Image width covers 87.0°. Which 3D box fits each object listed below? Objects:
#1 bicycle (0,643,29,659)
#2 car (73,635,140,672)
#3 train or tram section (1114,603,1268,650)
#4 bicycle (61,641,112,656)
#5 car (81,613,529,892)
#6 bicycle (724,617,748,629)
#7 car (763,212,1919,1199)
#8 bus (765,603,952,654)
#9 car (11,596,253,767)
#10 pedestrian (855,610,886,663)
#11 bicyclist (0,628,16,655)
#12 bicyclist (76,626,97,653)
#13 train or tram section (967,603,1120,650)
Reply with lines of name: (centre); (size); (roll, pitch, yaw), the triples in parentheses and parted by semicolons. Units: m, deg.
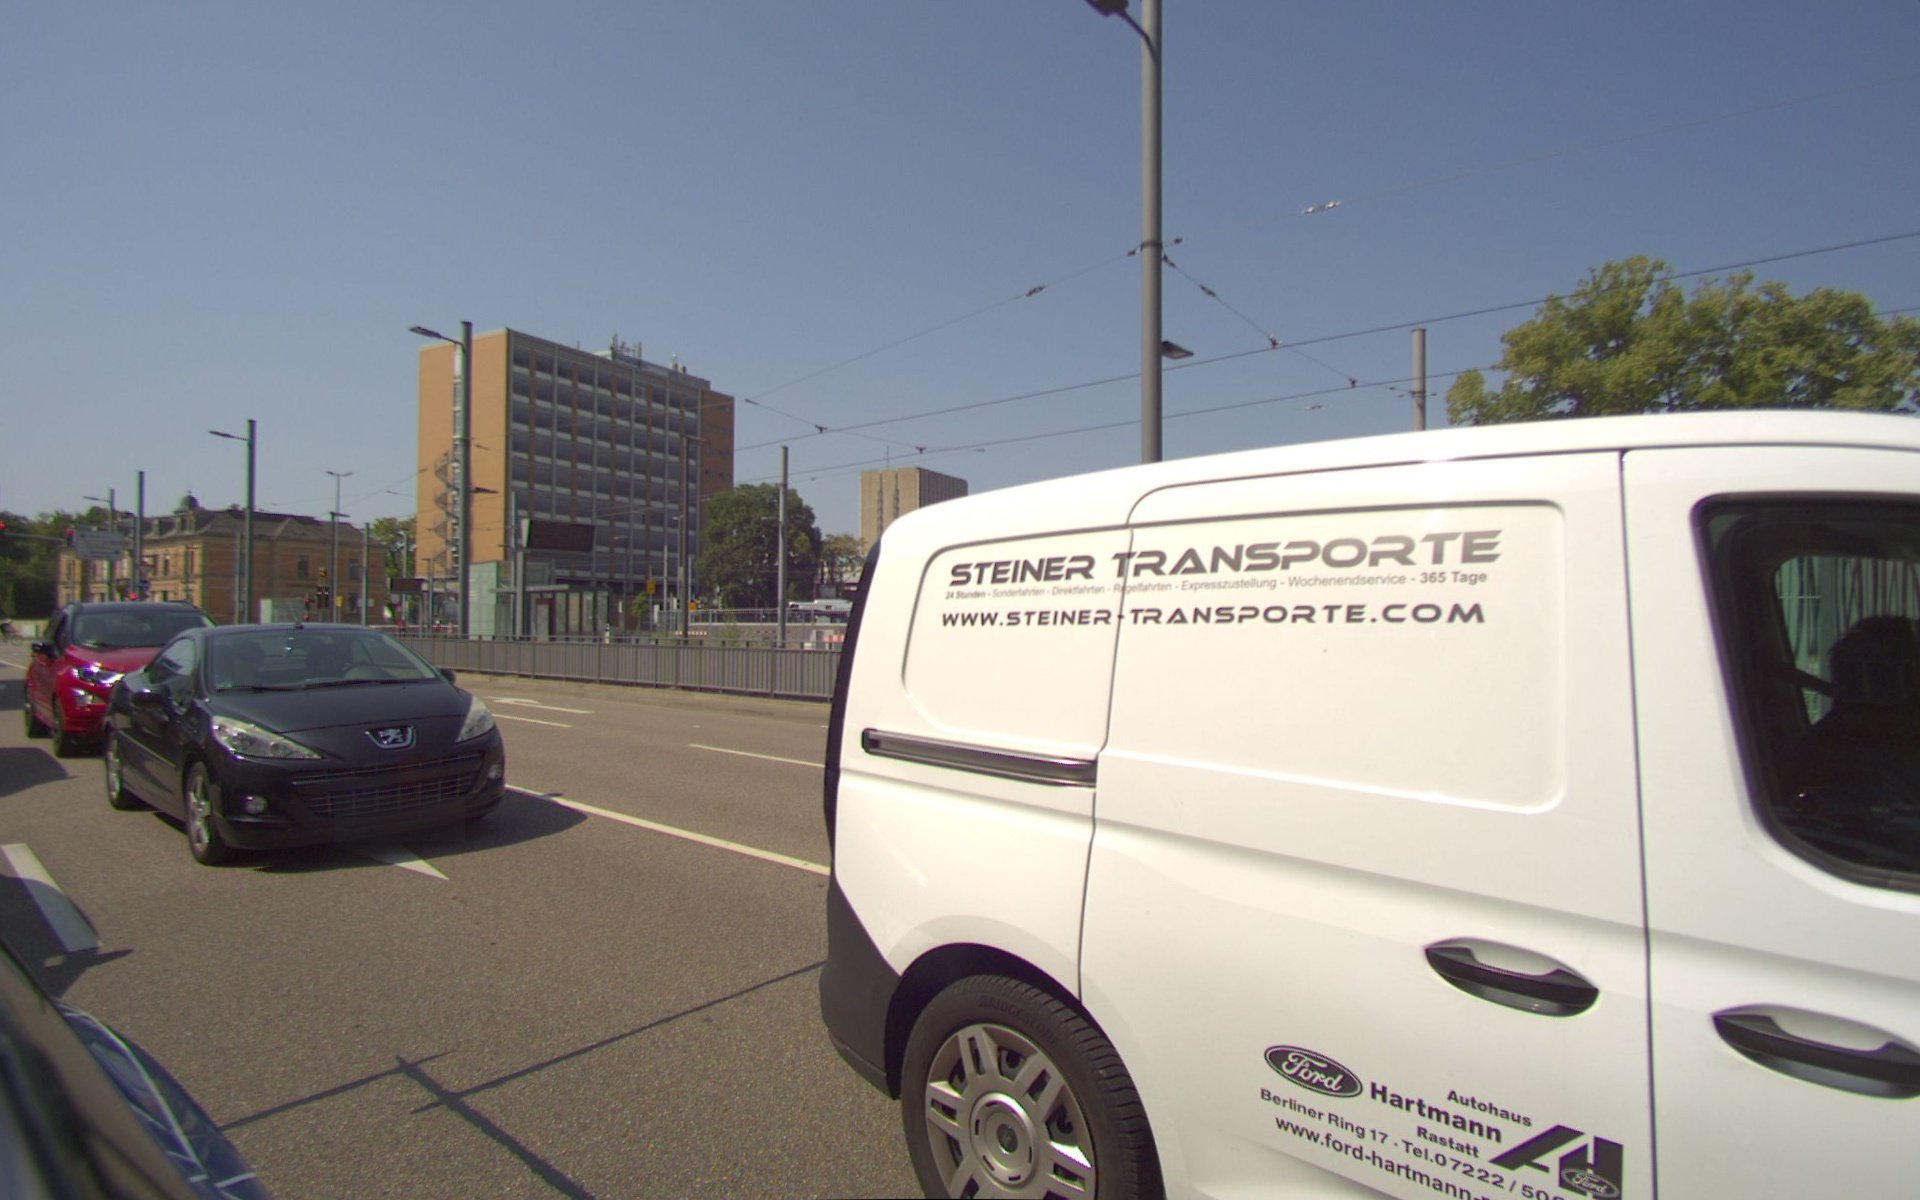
bicycle: (-63.814, 3.398, 67.466); (2.481, 1.028, 0.786); (1, -2, -14)
car: (-37.400, 2.356, 44.318); (4.573, 1.446, 1.727); (-4, -1, 43)
train or tram section: (18.846, 2.171, 82.701); (12.180, 3.794, 2.002); (0, -2, -4)
bicycle: (-59.412, 3.308, 68.843); (2.481, 1.024, 0.786); (1, -2, -14)
car: (-4.743, 0.828, 7.110); (3.799, 1.424, 1.671); (-1, -1, 41)
bicycle: (-21.176, 2.169, 95.647); (2.149, 1.109, 0.666); (-1, 0, -28)
car: (1.660, 0.480, 1.795); (4.237, 1.834, 1.729); (-1, -1, 41)
bus: (-7.316, 2.006, 73.620); (13.205, 3.319, 3.354); (-1, 0, -4)
car: (-9.603, 0.813, 11.623); (3.967, 1.633, 1.612); (-1, -1, 43)
pedestrian: (-3.079, 1.244, 34.645); (0.761, 1.801, 0.735); (-2, -3, 42)
bicyclist: (-63.843, 2.761, 67.485); (0.966, 1.755, 0.786); (1, -2, -15)
bicyclist: (-59.438, 2.676, 68.872); (0.776, 1.821, 0.786); (1, -2, -15)
train or tram section: (6.692, 2.154, 81.798); (12.180, 3.794, 2.002); (0, -2, -4)
